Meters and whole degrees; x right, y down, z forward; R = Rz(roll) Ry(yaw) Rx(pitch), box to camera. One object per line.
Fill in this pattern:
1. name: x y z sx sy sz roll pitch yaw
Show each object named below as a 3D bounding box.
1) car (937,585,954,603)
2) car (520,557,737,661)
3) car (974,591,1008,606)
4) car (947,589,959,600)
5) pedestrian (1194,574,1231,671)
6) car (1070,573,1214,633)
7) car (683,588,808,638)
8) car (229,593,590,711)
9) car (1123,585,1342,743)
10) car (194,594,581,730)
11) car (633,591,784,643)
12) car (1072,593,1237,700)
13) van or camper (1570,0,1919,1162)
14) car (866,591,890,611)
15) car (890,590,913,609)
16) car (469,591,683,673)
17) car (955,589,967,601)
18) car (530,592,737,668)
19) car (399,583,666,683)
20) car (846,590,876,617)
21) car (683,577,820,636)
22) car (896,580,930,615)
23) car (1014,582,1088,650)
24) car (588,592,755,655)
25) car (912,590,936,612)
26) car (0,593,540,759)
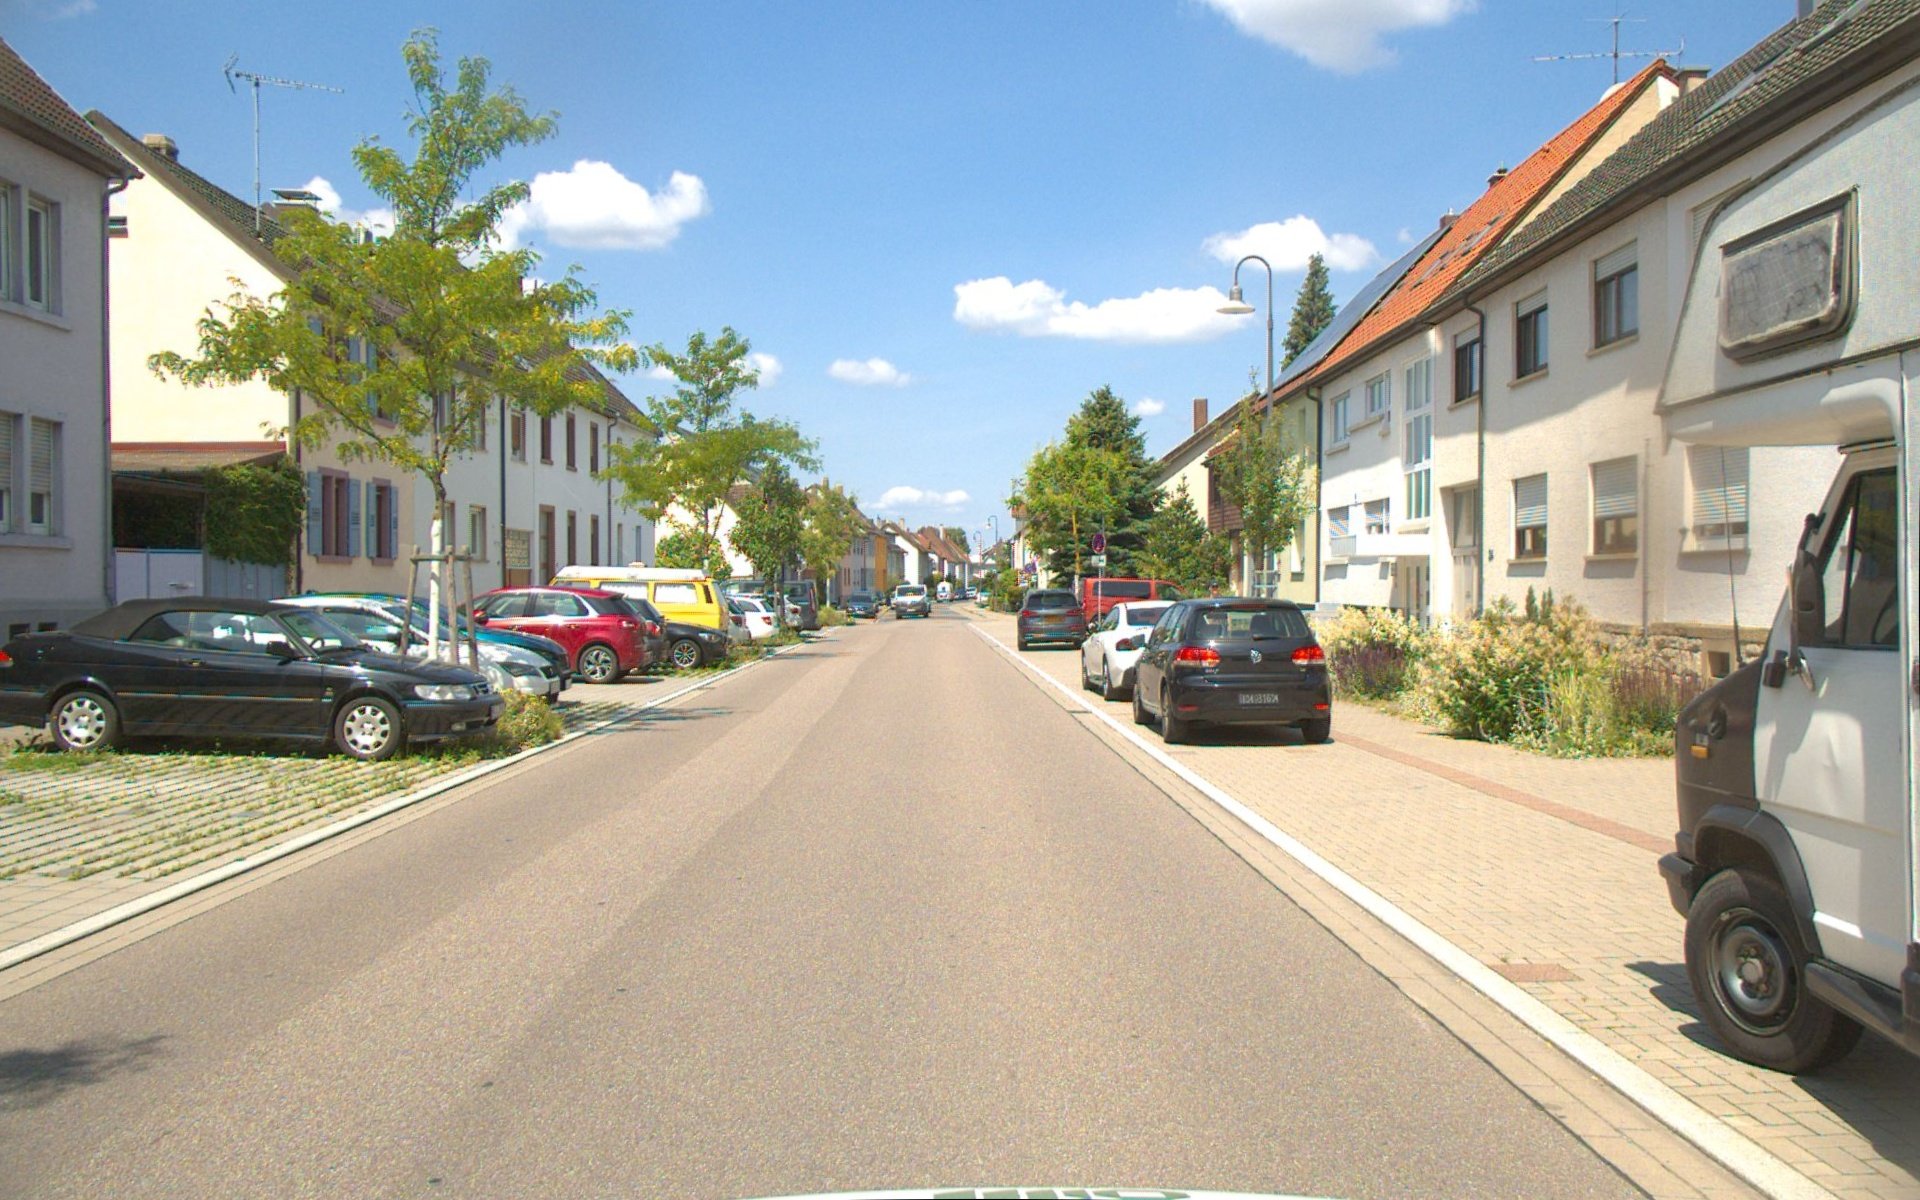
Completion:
1. car: -1.918 -0.862 223.084 2.002 2.352 3.772 1 0 3
2. car: -7.311 0.193 36.794 4.417 2.215 1.925 1 0 -1
3. car: 3.166 -0.138 168.963 3.451 1.490 1.628 1 -1 -1
4. car: -1.043 -0.829 244.955 1.656 1.530 3.772 1 0 3
5. pedestrian: 4.741 0.420 31.081 0.546 1.779 0.673 -1 -1 0
6. car: 6.061 0.108 55.420 4.526 1.927 2.019 1 -1 -2
7. car: -7.241 0.433 56.193 4.101 1.596 1.772 1 -1 -5
8. car: -7.350 0.679 22.450 4.317 1.503 1.774 1 0 -5
9. car: 2.887 0.627 18.344 1.731 1.556 4.006 0 0 -1
10. car: -6.662 0.704 19.589 3.973 1.503 1.774 1 0 -4
11. car: -7.465 0.500 49.308 4.206 1.493 1.774 1 -1 0
12. car: 2.882 0.649 25.460 1.795 1.491 4.517 0 0 -3
13. van or camper: 3.569 -0.064 3.275 2.423 2.859 5.789 -2 1 -1
14. car: -6.889 0.061 139.561 1.774 1.637 3.999 2 0 0
15. car: -5.411 -0.073 152.964 1.811 1.688 4.001 2 0 2
16. car: -7.272 0.594 31.627 3.716 1.485 1.754 1 0 -4
17. car: 0.142 -0.761 252.449 1.656 1.689 3.772 1 0 3
18. car: -6.672 0.600 34.100 3.928 1.485 1.755 1 0 -1
19. car: -7.382 0.559 28.852 4.167 1.639 1.842 1 0 -2
20. car: -6.205 0.190 104.032 1.780 1.458 4.137 3 1 -4
21. car: -7.368 0.233 58.854 4.605 1.957 1.937 1 -1 -1
22. car: -2.797 -0.129 98.375 1.982 1.984 4.896 -1 0 -2
23. car: 2.452 0.390 45.554 1.826 1.664 4.447 -3 1 1
24. car: -7.169 0.574 41.299 3.997 1.493 1.750 1 0 -10
25. car: -2.688 0.038 123.174 1.727 1.549 4.047 -2 0 -2
26. car: -6.453 0.682 15.762 4.432 1.450 1.795 1 0 -1
